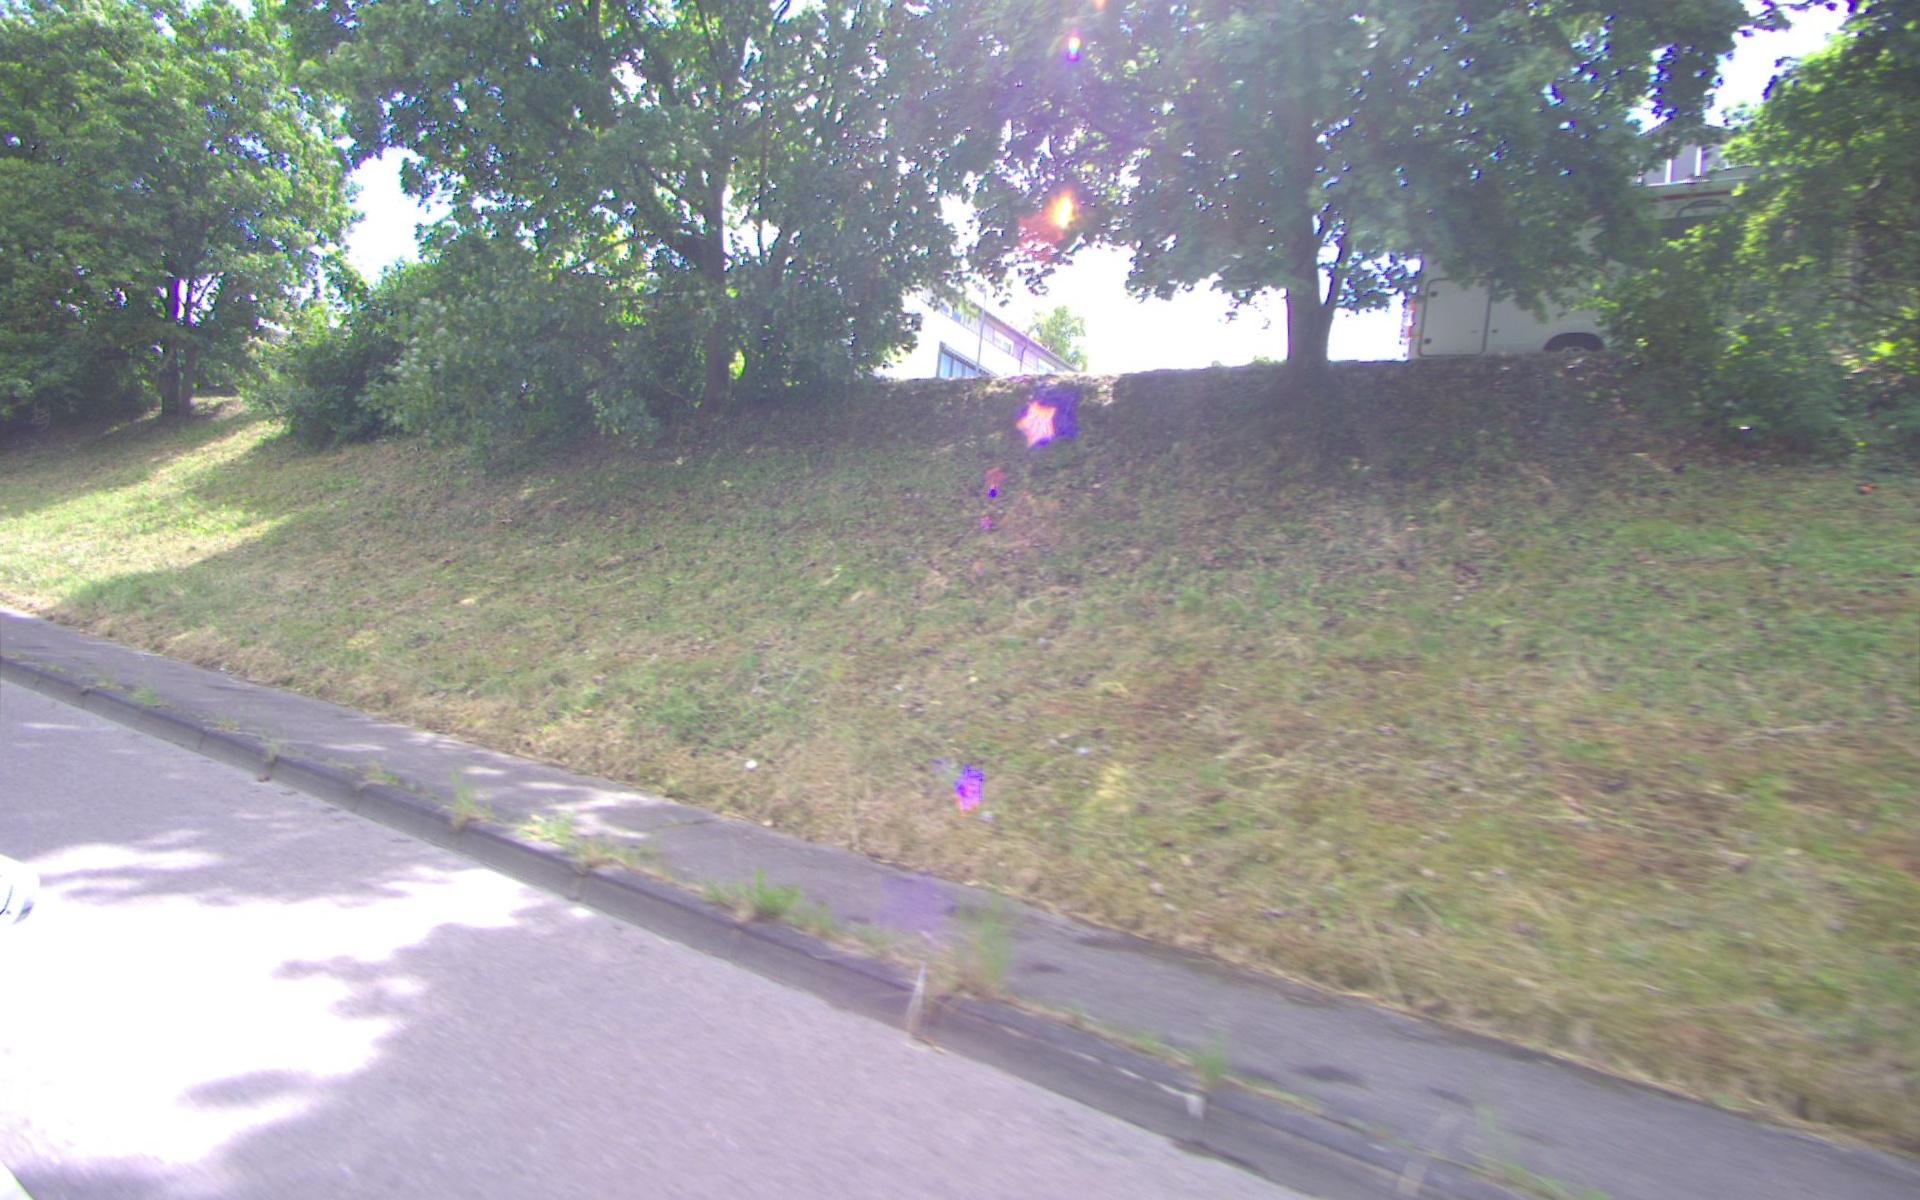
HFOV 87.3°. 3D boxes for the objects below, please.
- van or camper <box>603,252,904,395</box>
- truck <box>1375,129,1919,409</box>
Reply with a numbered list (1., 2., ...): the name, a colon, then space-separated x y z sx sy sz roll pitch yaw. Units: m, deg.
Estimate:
1. van or camper: -4.447 -5.706 21.312 6.056 2.094 2.222 7 -1 29
2. truck: 9.735 -4.296 13.906 6.920 2.690 2.356 7 -1 30
